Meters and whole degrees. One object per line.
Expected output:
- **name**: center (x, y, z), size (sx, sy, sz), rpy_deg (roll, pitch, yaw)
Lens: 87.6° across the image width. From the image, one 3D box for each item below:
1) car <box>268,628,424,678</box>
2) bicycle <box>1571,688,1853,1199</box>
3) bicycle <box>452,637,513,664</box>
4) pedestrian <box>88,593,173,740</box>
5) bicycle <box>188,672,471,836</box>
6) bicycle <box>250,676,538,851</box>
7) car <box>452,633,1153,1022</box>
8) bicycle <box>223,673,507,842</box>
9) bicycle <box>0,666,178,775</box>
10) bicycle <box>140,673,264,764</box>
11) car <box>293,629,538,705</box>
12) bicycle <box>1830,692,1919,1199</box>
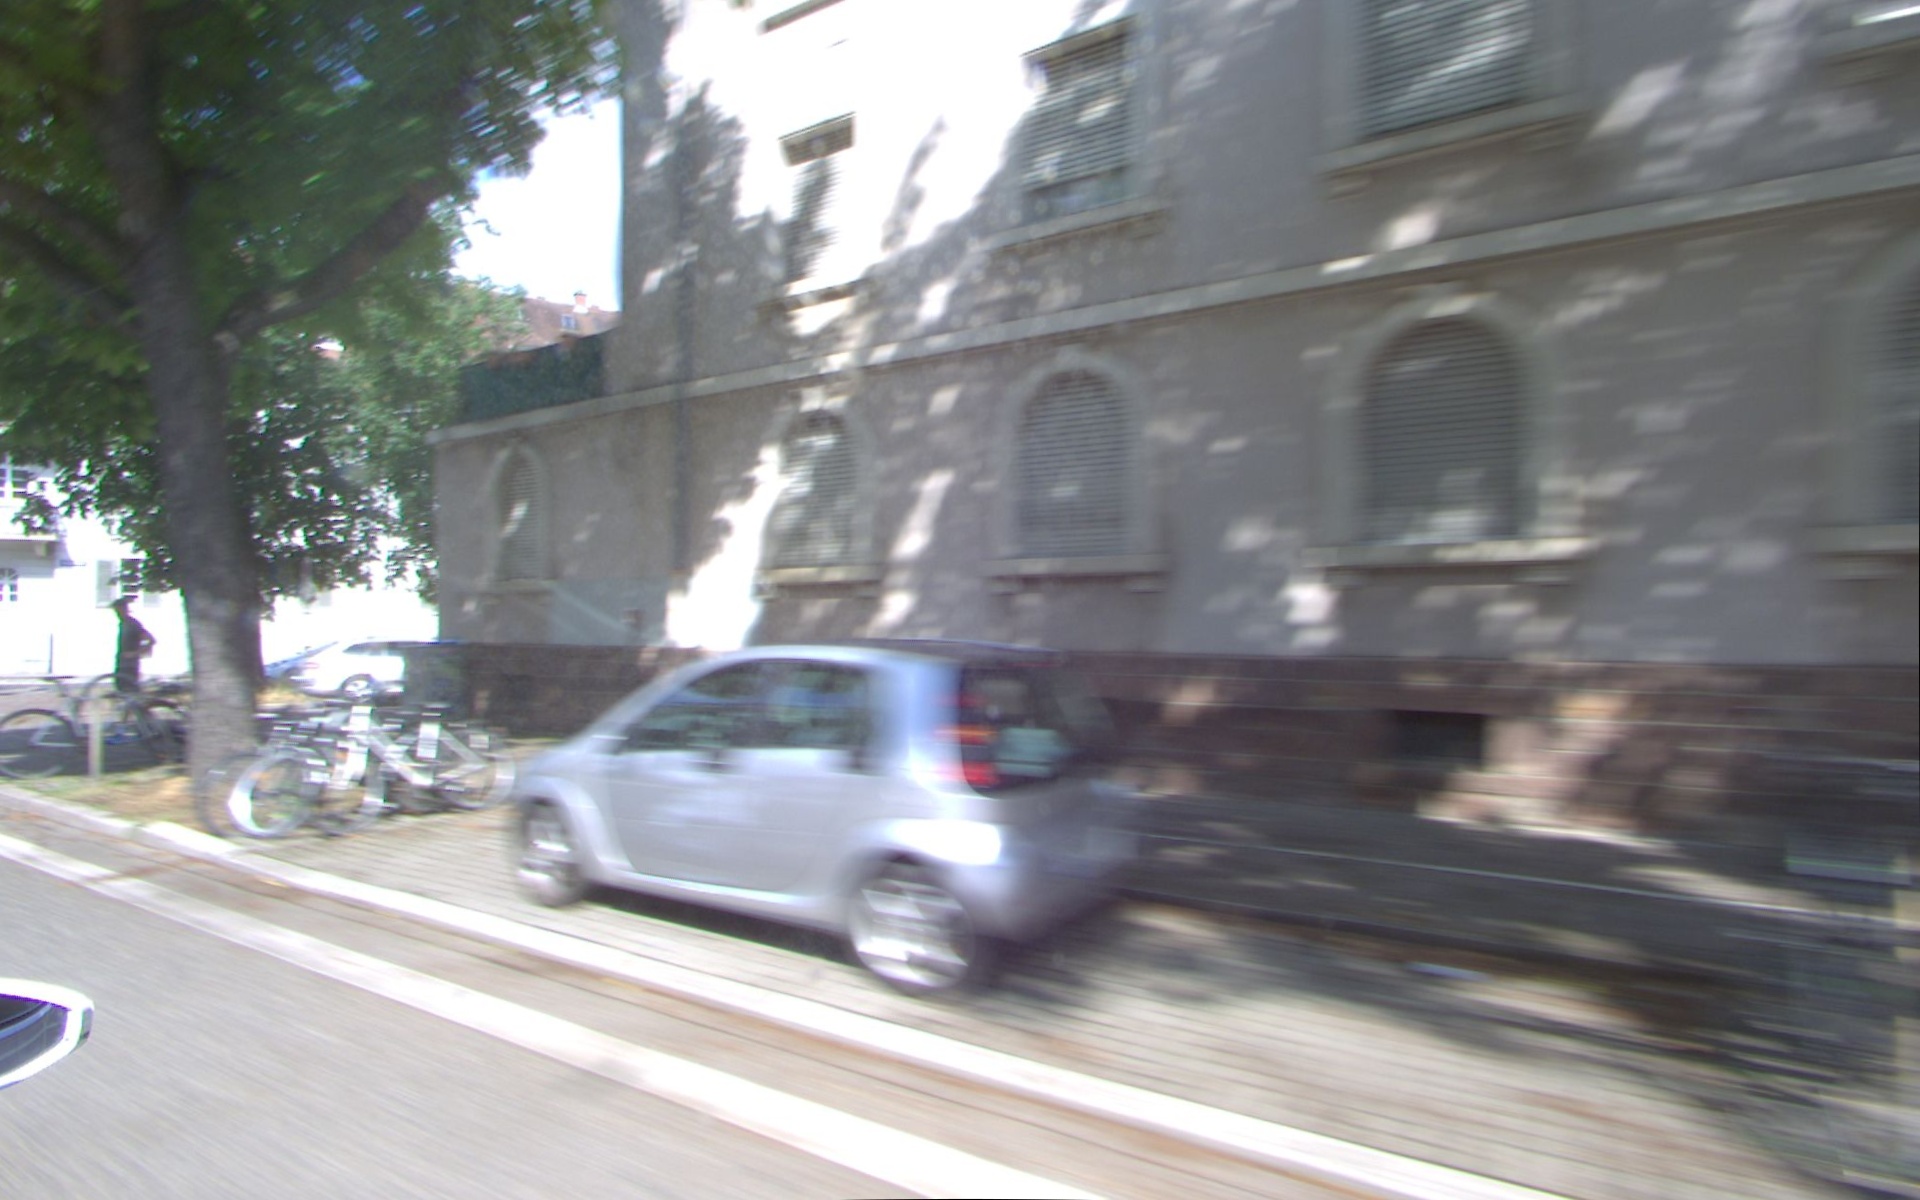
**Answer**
- **car**: center (-18.596, 1.609, 30.535), size (3.943, 1.428, 1.644), rpy_deg (2, -3, -30)
- **bicycle**: center (2.513, 0.937, 3.253), size (0.508, 1.191, 1.883), rpy_deg (-1, -1, 43)
- **bicycle**: center (-18.996, 2.025, 39.878), size (2.108, 1.047, 0.533), rpy_deg (2, -2, -37)
- **pedestrian**: center (-10.916, 0.873, 13.182), size (0.866, 1.859, 0.610), rpy_deg (-2, -2, 30)
- **bicycle**: center (-4.874, 1.137, 7.899), size (0.396, 1.085, 1.900), rpy_deg (0, -2, 32)
- **bicycle**: center (-4.131, 1.142, 7.487), size (0.396, 1.085, 1.900), rpy_deg (0, -2, 32)
- **car**: center (-0.984, 0.943, 5.601), size (3.713, 1.449, 1.662), rpy_deg (-1, 0, 33)
- **bicycle**: center (-4.488, 1.137, 7.719), size (0.396, 1.085, 1.900), rpy_deg (0, -2, 32)
- **bicycle**: center (-8.892, 1.191, 10.173), size (0.255, 0.996, 1.488), rpy_deg (-1, -1, 34)
- **bicycle**: center (-8.252, 1.265, 10.882), size (1.743, 0.912, 0.258), rpy_deg (-1, -1, 24)
- **car**: center (-11.760, 1.429, 21.838), size (4.511, 1.494, 1.860), rpy_deg (2, -3, -31)
- **bicycle**: center (2.907, 0.923, 2.884), size (0.508, 1.191, 1.926), rpy_deg (-1, -1, 43)
